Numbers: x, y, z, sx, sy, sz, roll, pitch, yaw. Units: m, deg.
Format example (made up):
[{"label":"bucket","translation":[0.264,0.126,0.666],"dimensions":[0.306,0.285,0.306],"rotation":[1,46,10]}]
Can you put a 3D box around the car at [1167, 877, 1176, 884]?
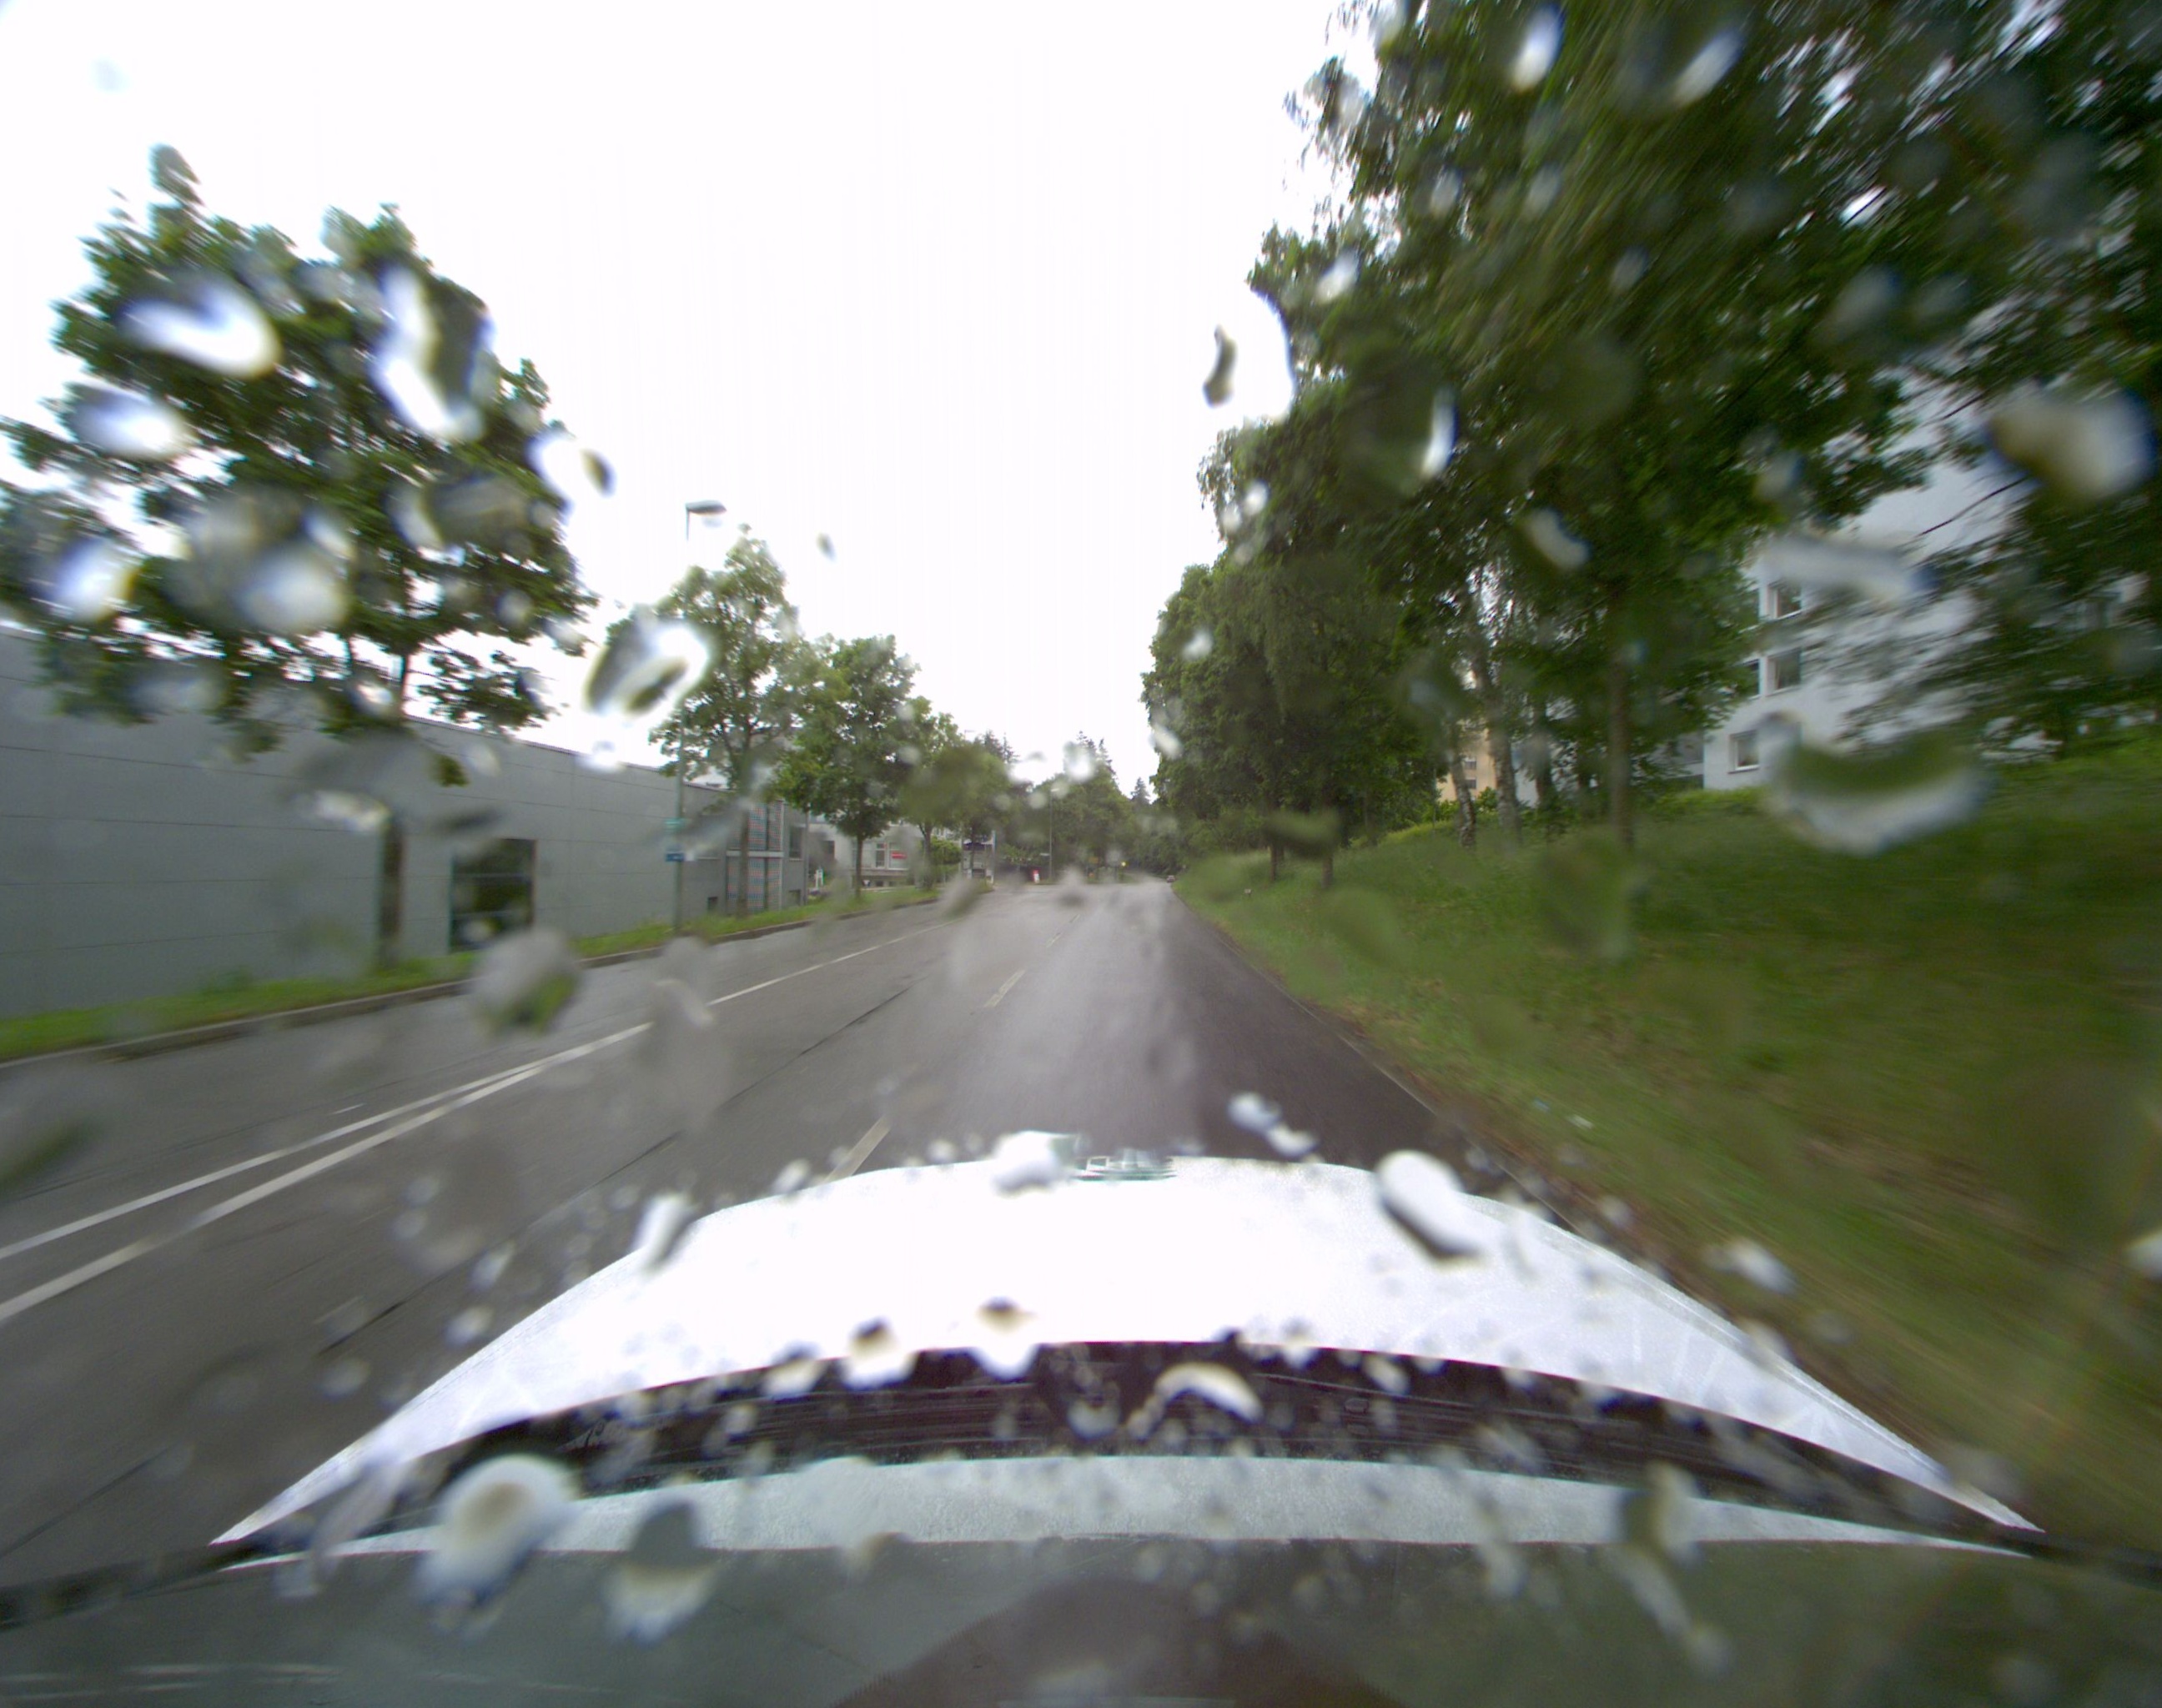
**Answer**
[{"label":"car","translation":[18.187,5.336,164.316],"dimensions":[1.728,1.510,4.005],"rotation":[-1,-1,5]}]
